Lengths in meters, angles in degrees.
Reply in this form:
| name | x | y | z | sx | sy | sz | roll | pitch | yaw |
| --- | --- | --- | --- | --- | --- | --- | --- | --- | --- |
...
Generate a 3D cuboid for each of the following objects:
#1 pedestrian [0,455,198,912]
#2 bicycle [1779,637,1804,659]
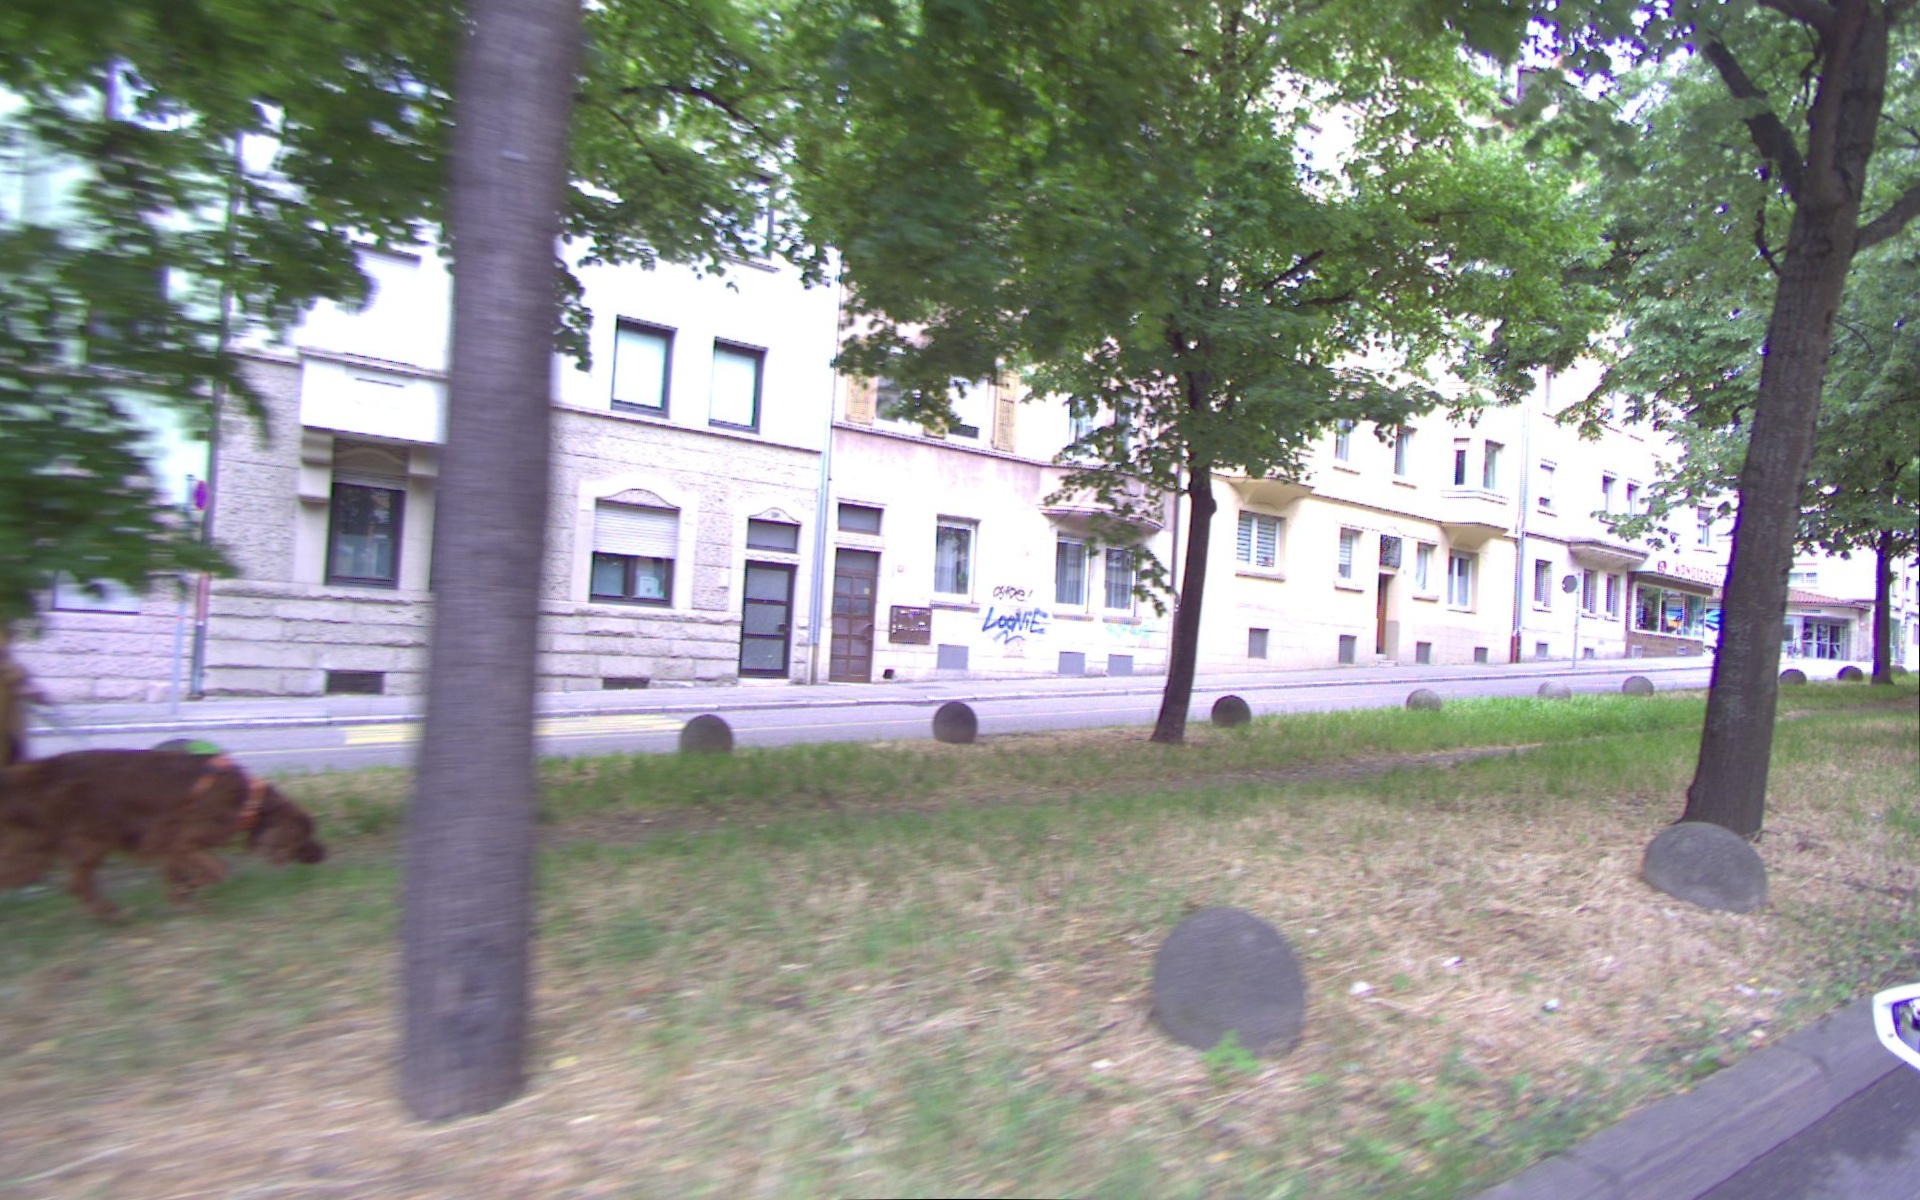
| name | x | y | z | sx | sy | sz | roll | pitch | yaw |
| --- | --- | --- | --- | --- | --- | --- | --- | --- | --- |
| pedestrian | -3.968 | 0.329 | 4.128 | 1.109 | 1.734 | 0.830 | 4 | -5 | -29 |
| bicycle | 44.469 | 2.595 | 53.745 | 0.751 | 1.099 | 2.032 | 4 | -1 | 33 |
